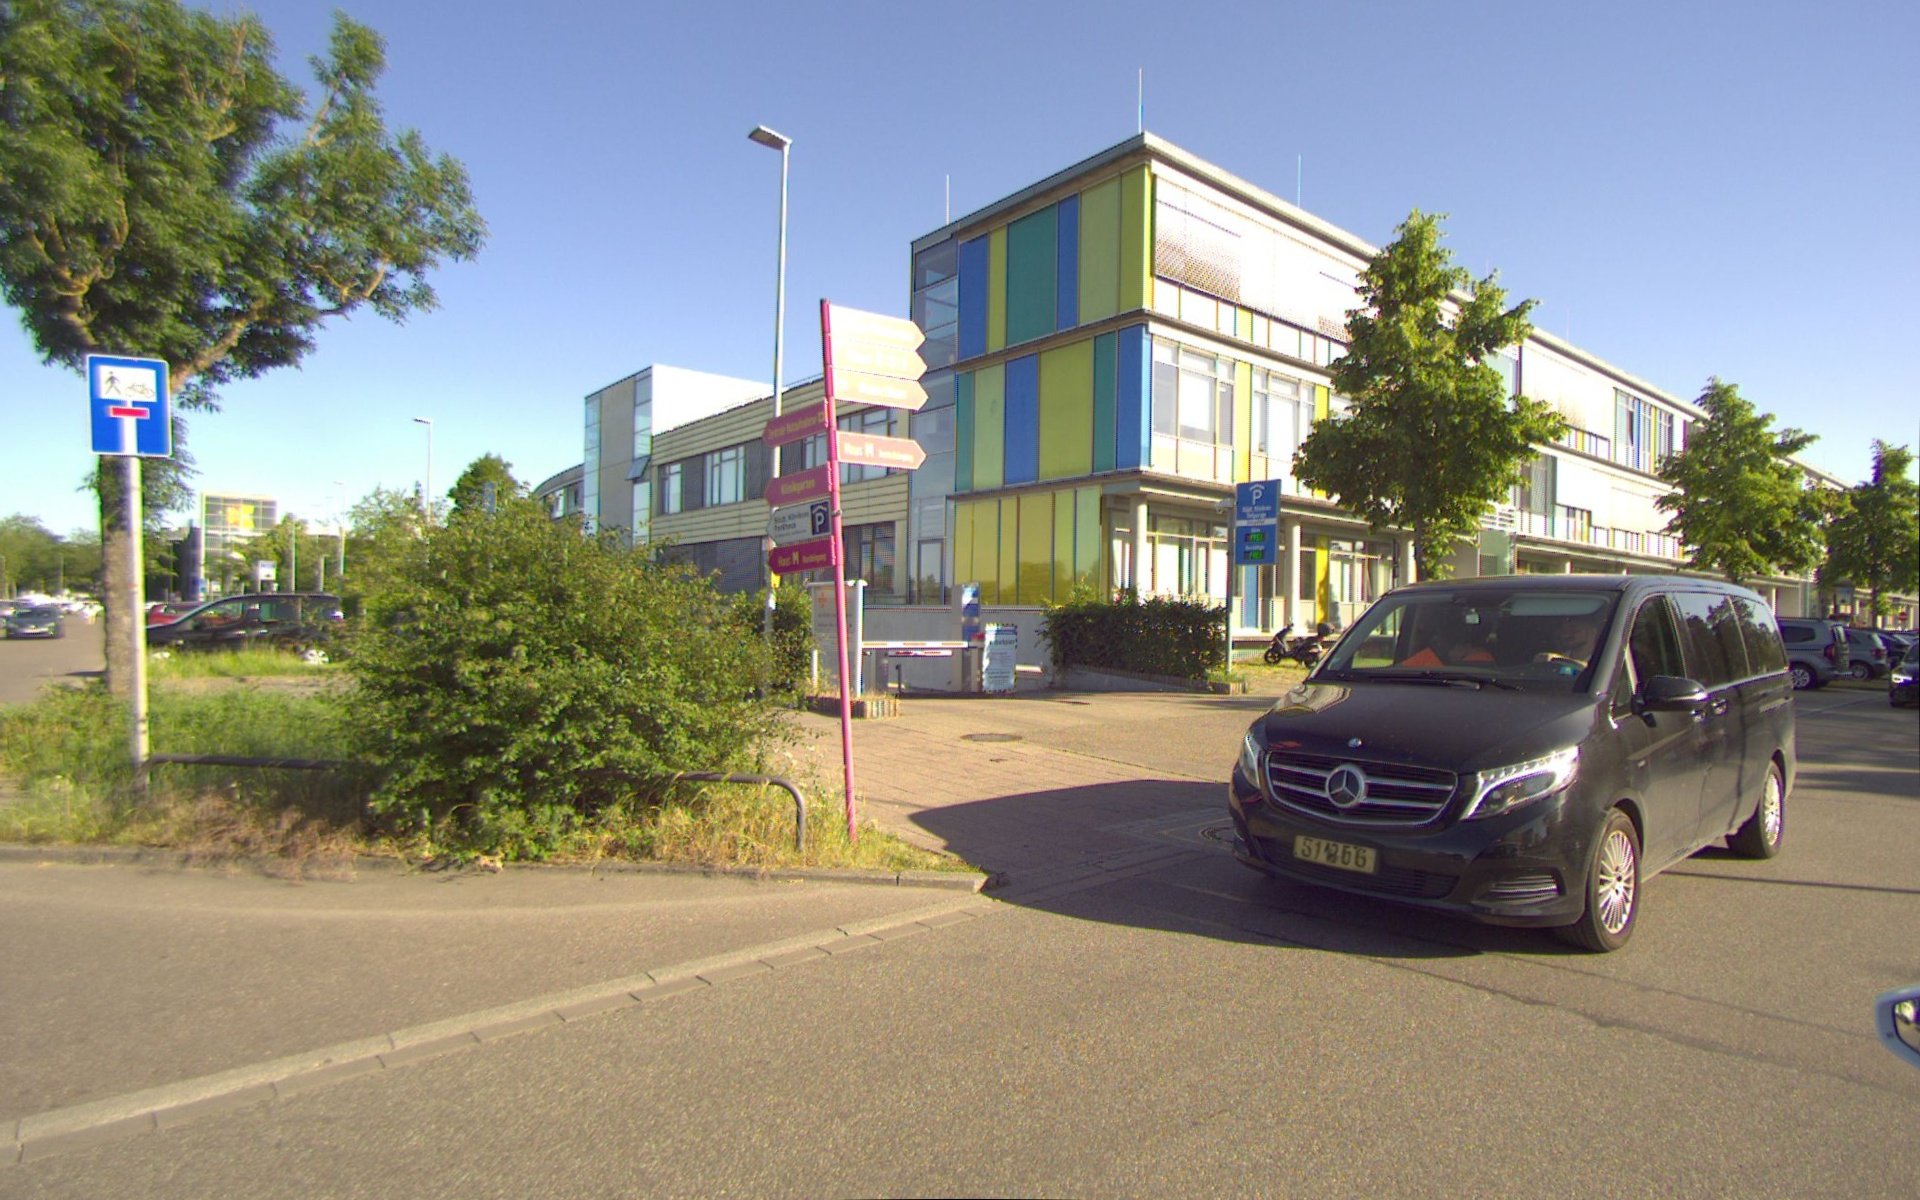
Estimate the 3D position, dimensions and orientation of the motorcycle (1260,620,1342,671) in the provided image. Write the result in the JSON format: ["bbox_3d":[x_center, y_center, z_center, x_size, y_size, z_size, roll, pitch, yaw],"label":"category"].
[{"bbox_3d":[8.875,1.177,26.251,0.495,1.165,2.025,0,2,-41],"label":"motorcycle"}]

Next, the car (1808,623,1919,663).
[{"bbox_3d":[38.756,1.799,42.507,1.858,1.481,4.174,1,0,-42],"label":"car"}]

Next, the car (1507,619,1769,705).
[{"bbox_3d":[15.170,1.306,22.739,1.849,1.673,4.581,2,-1,-35],"label":"car"}]

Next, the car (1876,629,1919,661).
[{"bbox_3d":[48.482,2.263,50.093,1.985,1.572,3.951,1,-2,-41],"label":"car"}]

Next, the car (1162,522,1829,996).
[{"bbox_3d":[3.727,0.711,6.445,5.211,1.892,1.939,1,-2,-40],"label":"car"}]

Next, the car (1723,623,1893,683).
[{"bbox_3d":[27.050,1.642,32.132,1.858,1.628,3.949,1,0,-43],"label":"car"}]

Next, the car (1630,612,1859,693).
[{"bbox_3d":[21.602,1.360,27.848,1.811,1.890,4.705,1,1,-38],"label":"car"}]

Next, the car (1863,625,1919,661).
[{"bbox_3d":[46.599,2.127,48.586,1.858,1.624,4.174,1,0,-42],"label":"car"}]

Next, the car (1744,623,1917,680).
[{"bbox_3d":[29.340,1.668,33.959,2.033,1.633,4.206,1,0,-43],"label":"car"}]

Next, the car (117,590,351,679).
[{"bbox_3d":[-15.919,0.745,22.273,4.061,1.813,1.497,1,-1,-34],"label":"car"}]

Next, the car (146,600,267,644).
[{"bbox_3d":[-31.522,0.926,42.078,3.966,1.724,1.977,2,-1,-39],"label":"car"}]

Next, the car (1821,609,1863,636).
[{"bbox_3d":[70.504,1.807,80.290,3.968,2.040,1.977,3,-2,-40],"label":"car"}]

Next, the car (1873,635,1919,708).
[{"bbox_3d":[21.164,1.503,21.760,4.057,1.470,1.688,2,-2,-43],"label":"car"}]

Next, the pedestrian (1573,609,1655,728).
[{"bbox_3d":[10.816,1.100,16.622,0.818,1.867,0.851,1,1,-37],"label":"pedestrian"}]

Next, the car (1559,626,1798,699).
[{"bbox_3d":[17.251,1.441,24.321,1.812,1.521,4.399,2,-1,-38],"label":"car"}]

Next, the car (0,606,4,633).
[{"bbox_3d":[-47.641,0.905,47.317,3.658,1.280,1.493,2,-4,-41],"label":"car"}]

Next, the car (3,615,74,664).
[{"bbox_3d":[-40.638,1.697,44.367,1.983,2.040,3.956,1,-1,-38],"label":"car"}]

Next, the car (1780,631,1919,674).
[{"bbox_3d":[33.614,1.934,37.877,1.731,1.377,3.949,1,0,-42],"label":"car"}]

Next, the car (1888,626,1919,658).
[{"bbox_3d":[50.474,2.188,51.585,1.985,1.572,3.951,1,-1,-42],"label":"car"}]
